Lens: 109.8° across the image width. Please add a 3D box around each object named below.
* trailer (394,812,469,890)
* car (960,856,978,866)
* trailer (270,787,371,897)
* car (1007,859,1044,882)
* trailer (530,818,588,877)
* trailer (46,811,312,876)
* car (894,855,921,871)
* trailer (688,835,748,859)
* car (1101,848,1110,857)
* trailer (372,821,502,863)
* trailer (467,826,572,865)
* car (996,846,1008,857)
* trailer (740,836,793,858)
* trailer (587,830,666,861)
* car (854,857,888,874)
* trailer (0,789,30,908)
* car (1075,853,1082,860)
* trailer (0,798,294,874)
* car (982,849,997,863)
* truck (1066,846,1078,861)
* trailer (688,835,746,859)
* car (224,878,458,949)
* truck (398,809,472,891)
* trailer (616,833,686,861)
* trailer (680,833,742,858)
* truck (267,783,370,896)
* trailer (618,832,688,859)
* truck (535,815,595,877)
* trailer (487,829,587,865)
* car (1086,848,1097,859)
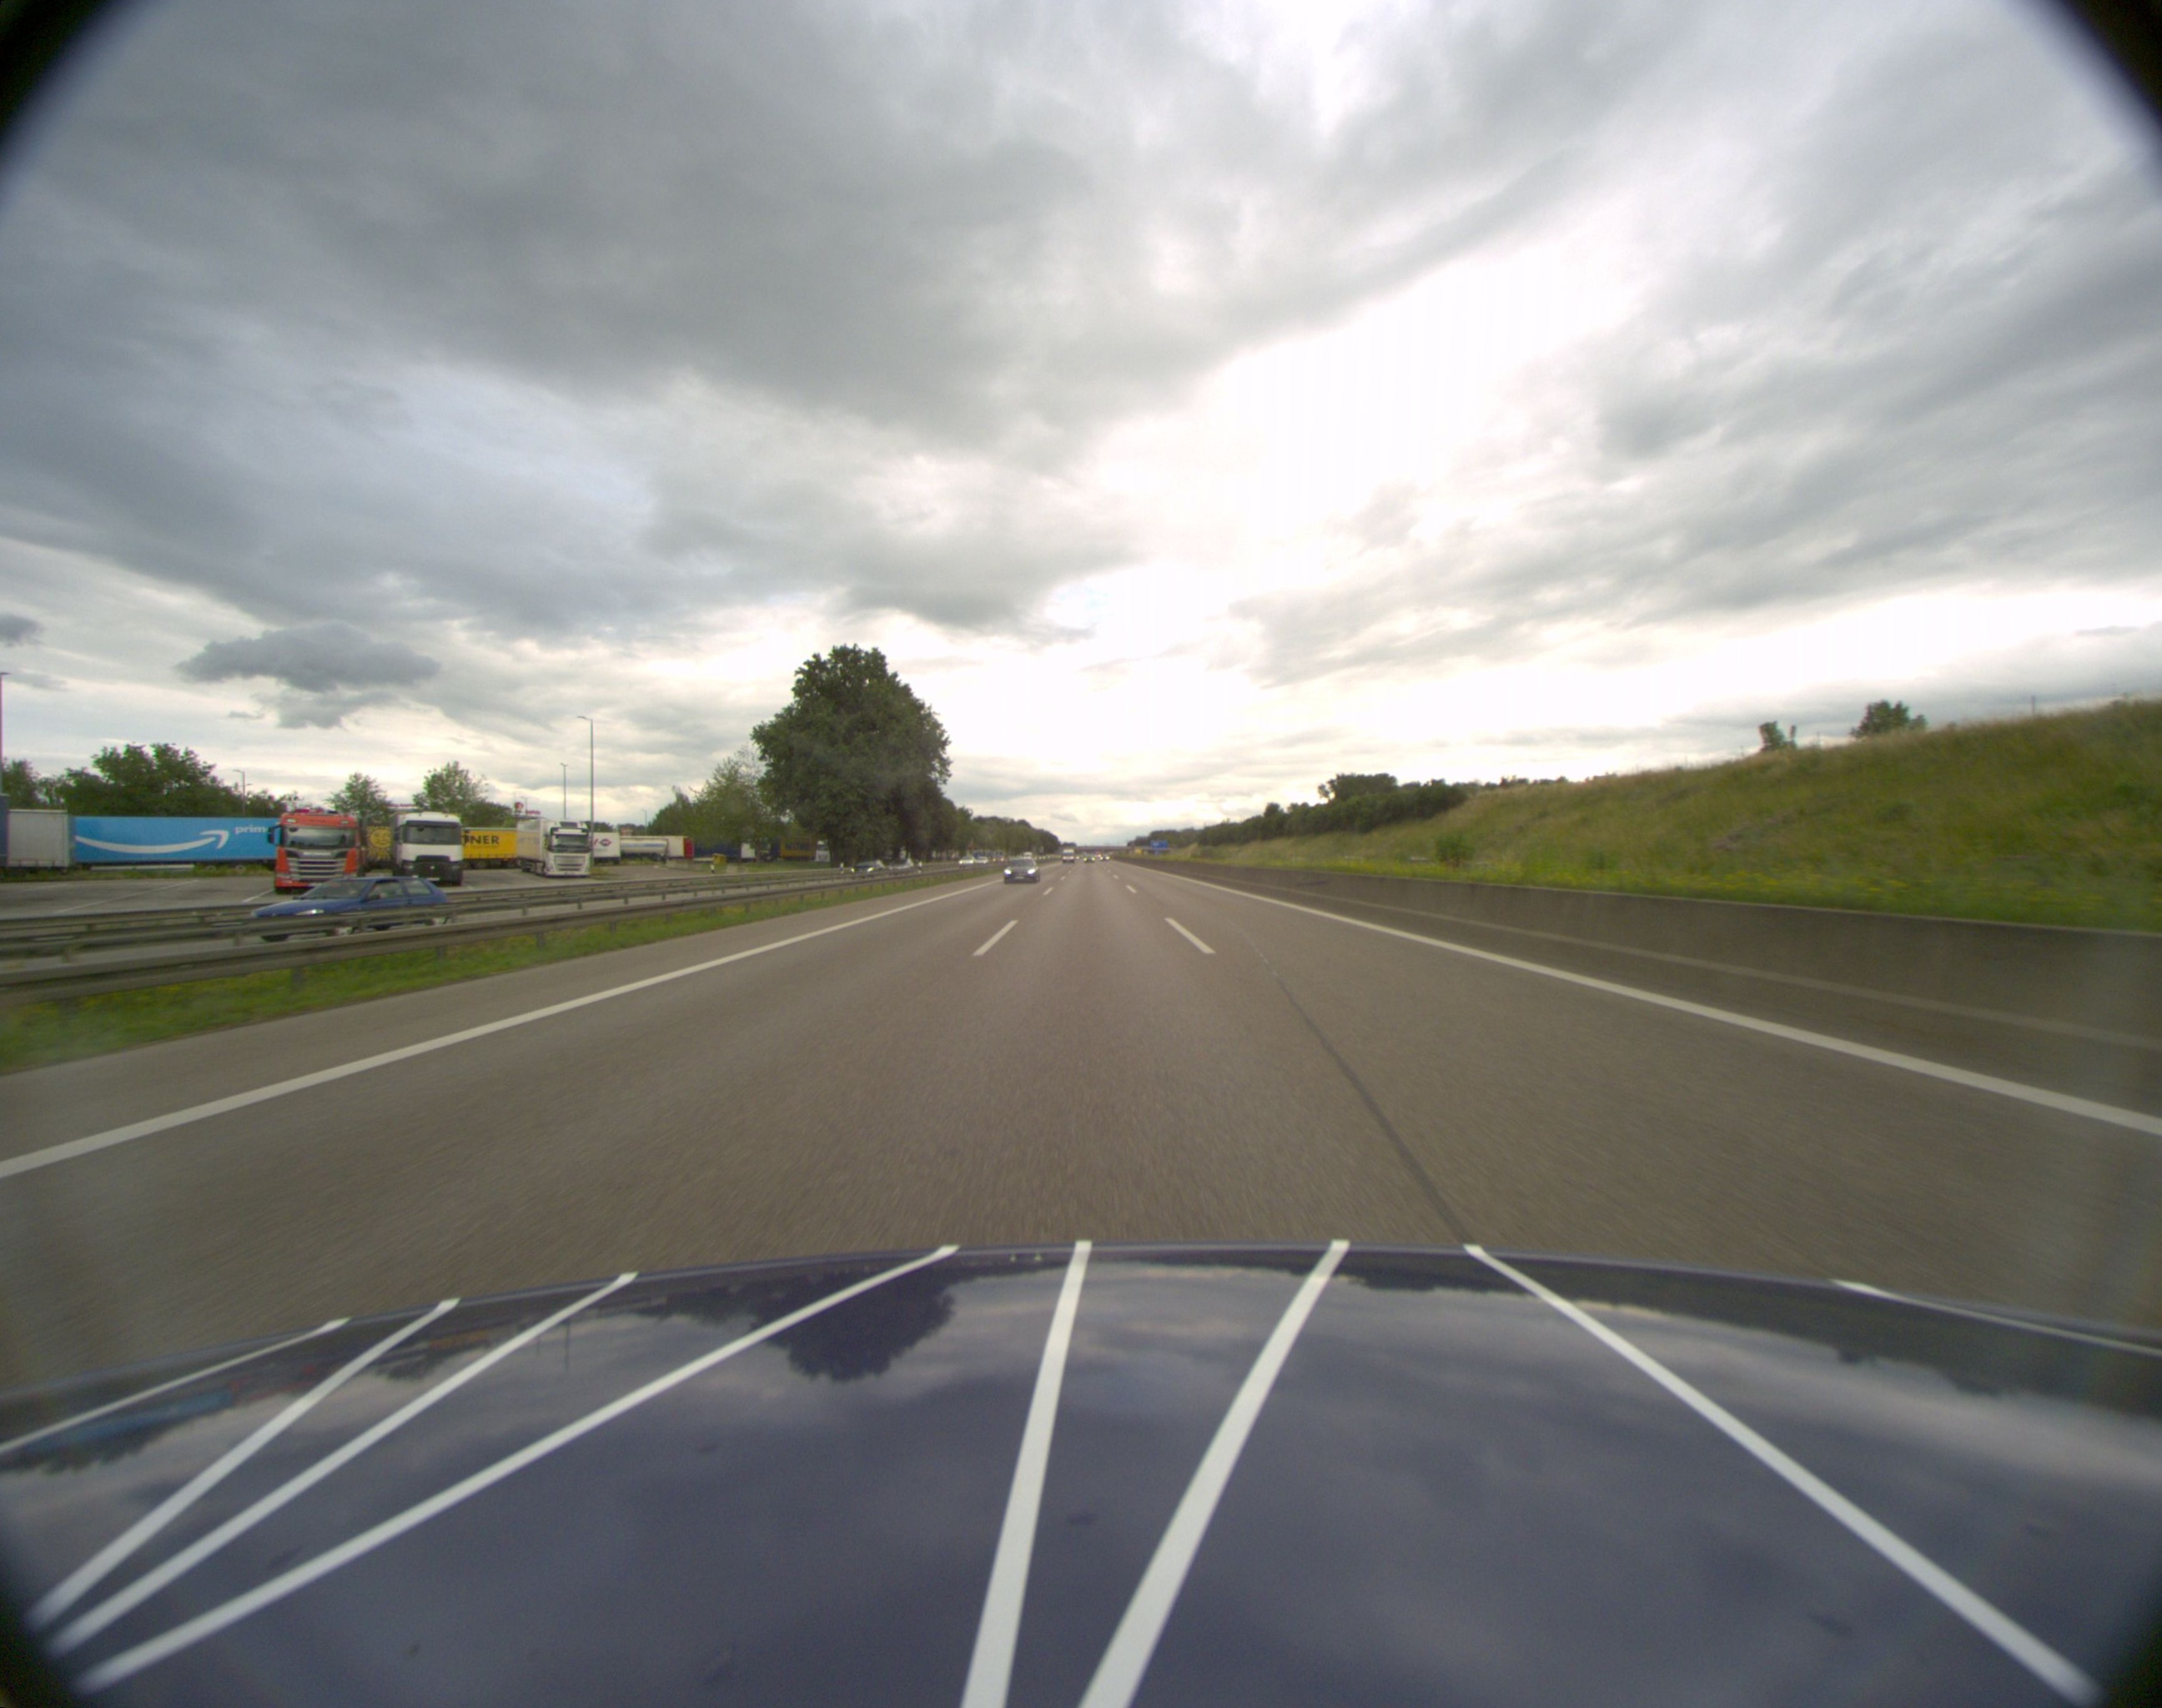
[{"bbox_3d":[-39.037,-0.071,45.449,2.668,4.089,14.030,-3,1,-43],"label":"trailer"},{"bbox_3d":[-15.446,0.957,104.965,1.828,1.236,3.878,0,0,1],"label":"car"},{"bbox_3d":[-38.587,-0.418,39.018,2.869,4.651,15.767,-3,1,-43],"label":"trailer"},{"bbox_3d":[-3.170,0.936,43.993,1.781,1.180,4.000,0,0,1],"label":"car"},{"bbox_3d":[-39.932,-0.417,57.920,2.821,4.031,10.933,-3,1,-38],"label":"trailer"},{"bbox_3d":[-58.069,-0.782,49.578,2.914,3.801,10.820,-1,1,43],"label":"trailer"},{"bbox_3d":[-15.541,0.801,68.127,1.413,1.299,4.000,0,0,1],"label":"car"},{"bbox_3d":[-55.930,-1.119,117.246,2.914,3.438,7.603,-1,1,45],"label":"trailer"},{"bbox_3d":[5.599,-0.283,175.299,1.998,2.002,4.000,0,1,1],"label":"car"},{"bbox_3d":[-54.267,-1.072,64.195,8.050,3.227,2.914,-3,1,-45],"label":"trailer"},{"bbox_3d":[-55.815,-0.913,75.677,8.049,3.594,2.914,-3,1,-42],"label":"trailer"},{"bbox_3d":[-14.869,-0.443,142.998,1.704,2.002,4.343,-2,1,1],"label":"car"},{"bbox_3d":[-53.612,-1.274,129.648,2.914,3.438,7.603,-1,1,45],"label":"trailer"},{"bbox_3d":[-55.061,-1.067,92.289,2.914,3.594,7.603,-1,1,45],"label":"trailer"},{"bbox_3d":[-16.147,0.874,58.695,1.465,1.208,4.000,0,0,1],"label":"car"},{"bbox_3d":[-39.682,-0.230,25.070,3.069,4.553,13.620,-3,1,-43],"label":"trailer"},{"bbox_3d":[-0.759,0.731,216.013,1.998,2.002,3.999,-2,1,0],"label":"car"},{"bbox_3d":[-55.439,-1.124,45.820,2.914,4.098,10.820,-1,1,43],"label":"trailer"},{"bbox_3d":[-14.275,0.336,118.822,1.606,2.002,4.000,-2,1,1],"label":"car"},{"bbox_3d":[-1.683,-0.097,139.730,1.998,2.482,5.869,-2,1,1],"label":"truck"},{"bbox_3d":[-57.515,-1.090,120.142,2.914,3.438,7.603,-1,1,45],"label":"trailer"},{"bbox_3d":[-16.625,1.278,17.347,1.796,1.251,3.545,-2,1,0],"label":"car"},{"bbox_3d":[-34.967,-0.197,41.057,2.674,4.125,5.914,-3,1,-42],"label":"truck"},{"bbox_3d":[-57.021,-0.898,100.832,2.914,3.438,7.407,-1,1,45],"label":"trailer"},{"bbox_3d":[-55.065,-1.350,113.088,2.914,3.438,7.603,-1,1,45],"label":"trailer"},{"bbox_3d":[-33.720,-0.572,33.772,2.883,4.598,5.158,-3,1,-44],"label":"truck"},{"bbox_3d":[-58.694,-1.147,104.420,2.914,3.455,7.765,-1,1,45],"label":"trailer"},{"bbox_3d":[-35.994,-0.511,52.910,2.831,4.037,6.432,-3,1,-38],"label":"truck"},{"bbox_3d":[-57.355,-0.795,80.296,2.914,3.594,8.050,-1,1,43],"label":"trailer"},{"bbox_3d":[1.938,-0.120,138.485,1.998,2.002,4.000,0,1,1],"label":"car"}]
